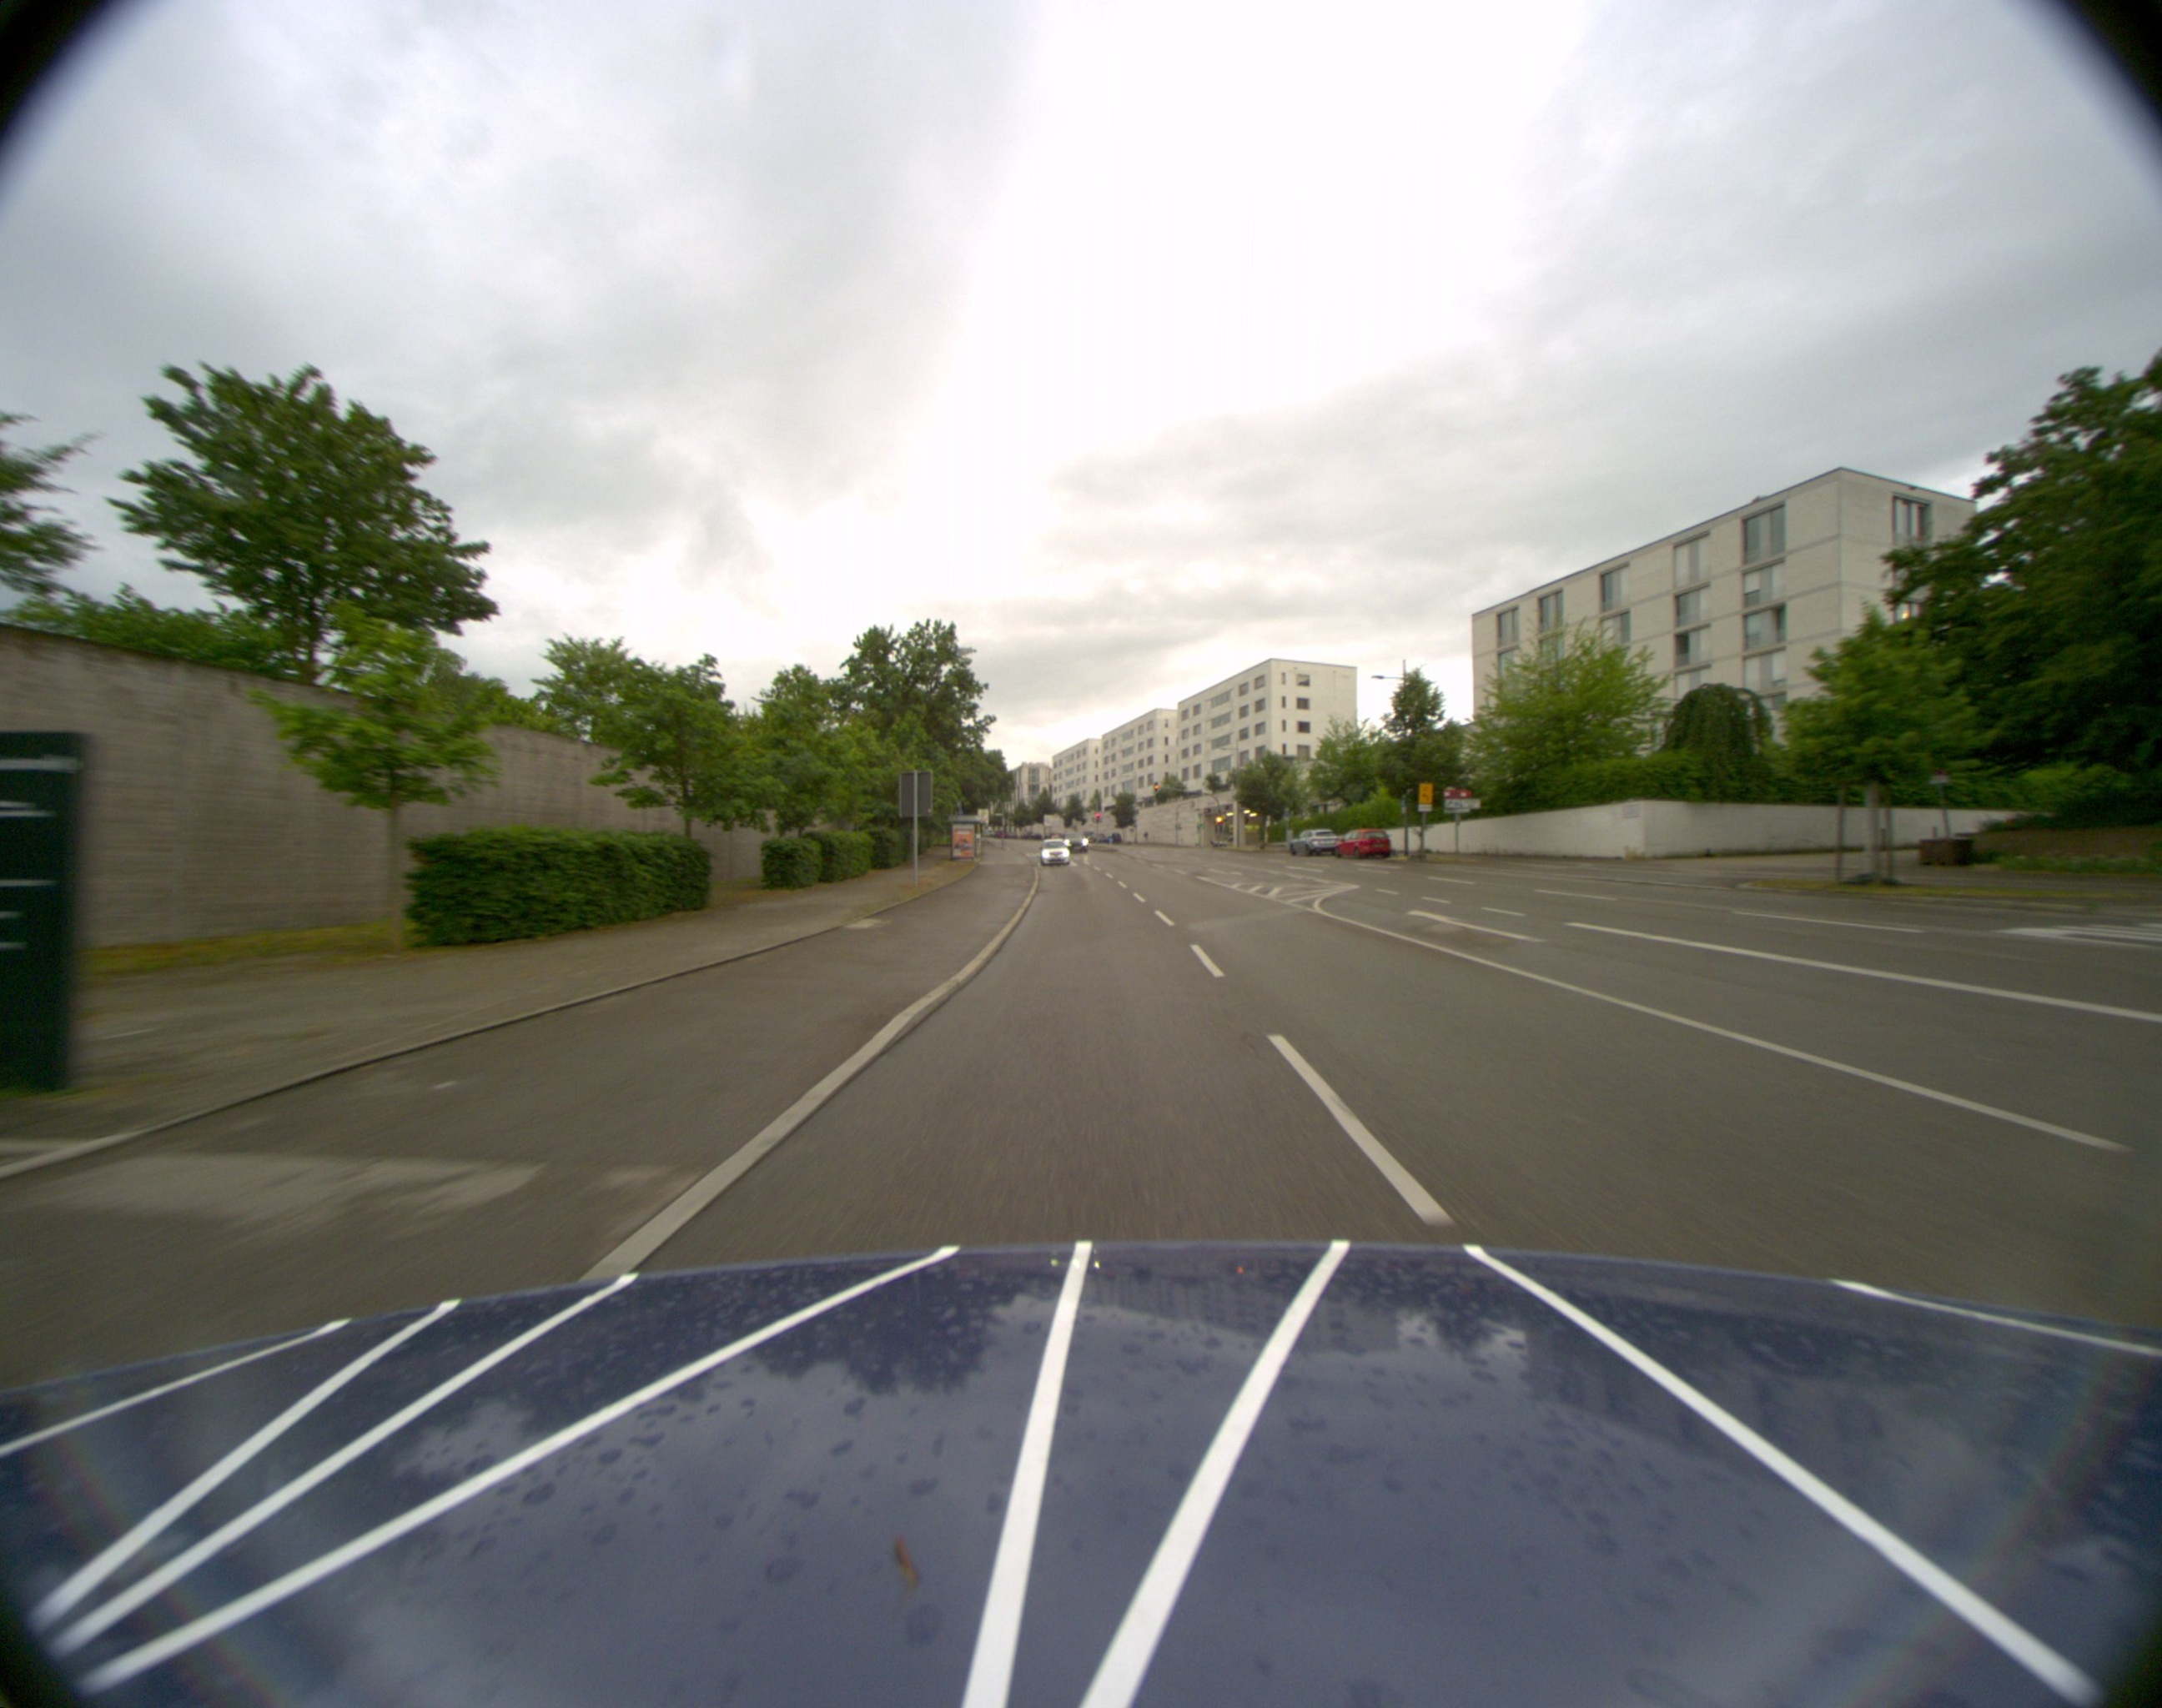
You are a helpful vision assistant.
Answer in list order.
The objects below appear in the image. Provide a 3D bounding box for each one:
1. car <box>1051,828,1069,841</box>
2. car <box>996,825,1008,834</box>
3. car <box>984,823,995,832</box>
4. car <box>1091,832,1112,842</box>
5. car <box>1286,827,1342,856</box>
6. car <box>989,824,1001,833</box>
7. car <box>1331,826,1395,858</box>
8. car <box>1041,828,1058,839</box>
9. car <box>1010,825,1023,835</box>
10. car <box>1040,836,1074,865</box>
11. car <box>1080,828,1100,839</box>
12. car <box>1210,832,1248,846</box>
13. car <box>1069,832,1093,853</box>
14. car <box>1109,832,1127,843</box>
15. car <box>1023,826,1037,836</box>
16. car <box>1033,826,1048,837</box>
[{"bbox_3d":[-3.695,-3.362,131.949,1.926,2.002,4.379,-2,1,-17],"label":"car"},{"bbox_3d":[-17.497,-5.477,168.680,1.967,1.829,4.441,-1,2,-16],"label":"car"},{"bbox_3d":[-23.225,-6.685,192.513,1.926,2.002,4.379,-2,1,-17],"label":"car"},{"bbox_3d":[3.091,-2.642,117.368,1.865,1.470,3.992,-2,2,-21],"label":"car"},{"bbox_3d":[14.617,-0.850,47.894,1.769,1.644,4.880,-3,2,-3],"label":"car"},{"bbox_3d":[-21.001,-6.310,185.685,1.926,2.002,4.379,-2,1,-17],"label":"car"},{"bbox_3d":[15.073,-0.676,40.839,1.669,1.578,4.214,-1,2,-3],"label":"car"},{"bbox_3d":[-5.781,-3.729,138.719,1.926,2.002,4.379,-2,1,-17],"label":"car"},{"bbox_3d":[-14.262,-5.406,169.030,1.926,2.002,4.379,-2,1,-17],"label":"car"},{"bbox_3d":[-1.453,-0.209,47.379,1.927,1.652,4.000,-2,0,0],"label":"car"},{"bbox_3d":[1.432,-3.305,121.663,1.792,1.623,3.991,-1,2,-20],"label":"car"},{"bbox_3d":[18.816,-1.928,96.554,4.350,1.643,1.996,-1,3,-21],"label":"car"},{"bbox_3d":[-0.057,-0.935,63.203,1.830,1.584,3.999,-3,1,-1],"label":"car"},{"bbox_3d":[5.464,-2.442,111.679,1.683,1.451,2.690,-1,2,-21],"label":"car"},{"bbox_3d":[-10.517,-4.692,156.107,1.926,2.002,4.379,-2,1,-17],"label":"car"},{"bbox_3d":[-7.999,-4.331,149.479,1.926,2.002,4.379,-2,1,-17],"label":"car"}]
